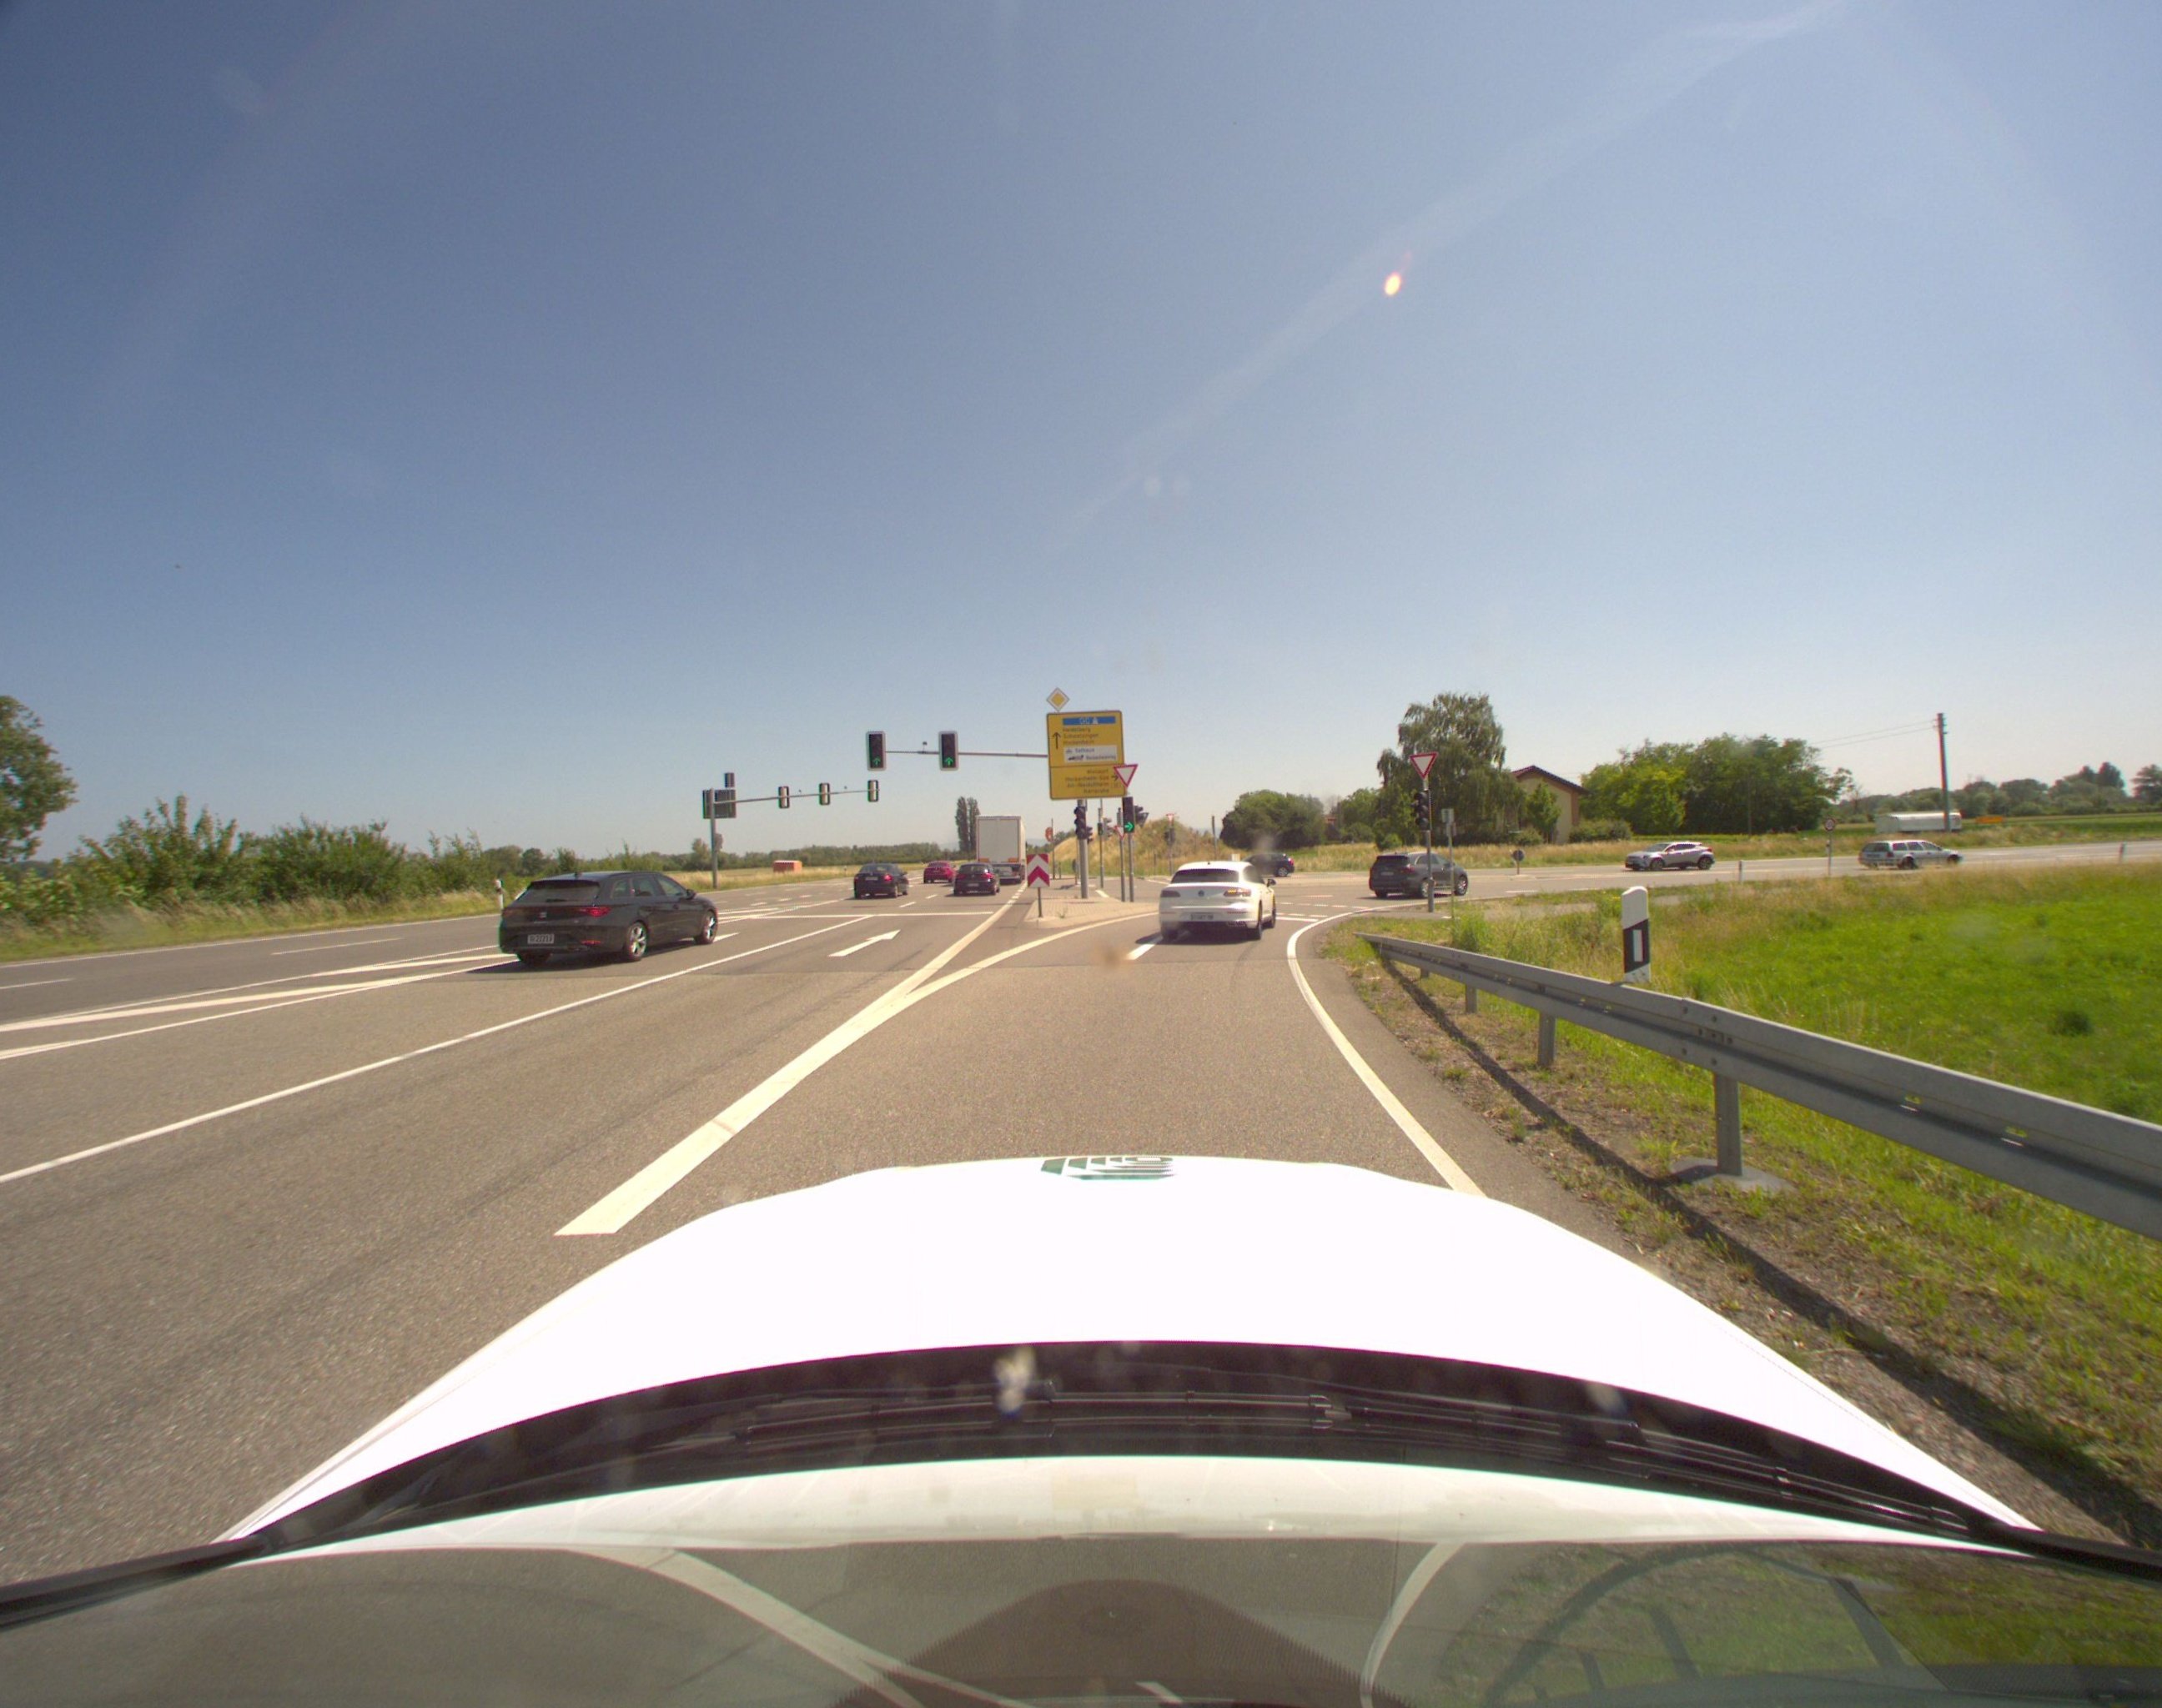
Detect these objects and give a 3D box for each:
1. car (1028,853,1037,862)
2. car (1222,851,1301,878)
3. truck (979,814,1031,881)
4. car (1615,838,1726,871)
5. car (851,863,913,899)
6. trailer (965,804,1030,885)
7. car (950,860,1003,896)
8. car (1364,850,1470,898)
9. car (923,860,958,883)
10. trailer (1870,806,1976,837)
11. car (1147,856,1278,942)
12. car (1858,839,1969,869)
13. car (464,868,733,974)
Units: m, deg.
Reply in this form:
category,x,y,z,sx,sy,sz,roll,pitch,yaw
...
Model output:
category,x,y,z,sx,sy,sz,roll,pitch,yaw
car,-10.738,0.829,181.230,1.977,1.869,4.460,-1,-1,-4
car,10.509,0.594,47.684,4.244,1.368,1.777,-3,1,2
truck,-5.412,-0.441,59.181,3.373,4.543,6.366,-1,0,-3
car,31.846,0.018,44.089,4.515,1.543,1.874,-3,1,4
car,-8.397,1.102,34.746,1.670,1.412,4.463,-1,-1,-2
trailer,-5.119,-0.505,52.406,3.373,4.543,12.859,-1,0,-2
car,-4.519,0.990,35.801,1.779,1.431,4.379,0,0,-1
car,12.478,0.701,30.112,4.402,1.616,1.917,0,-1,-43
car,-9.360,1.125,54.634,1.745,1.421,4.562,0,0,-2
trailer,74.053,-2.842,71.683,6.335,2.455,2.689,-3,1,3
car,2.753,0.788,16.117,1.833,1.433,4.629,-1,-1,18
car,40.996,-0.001,40.146,4.078,1.429,1.800,0,-2,-9
car,-7.869,0.995,13.913,1.883,1.447,4.524,-1,-1,0
